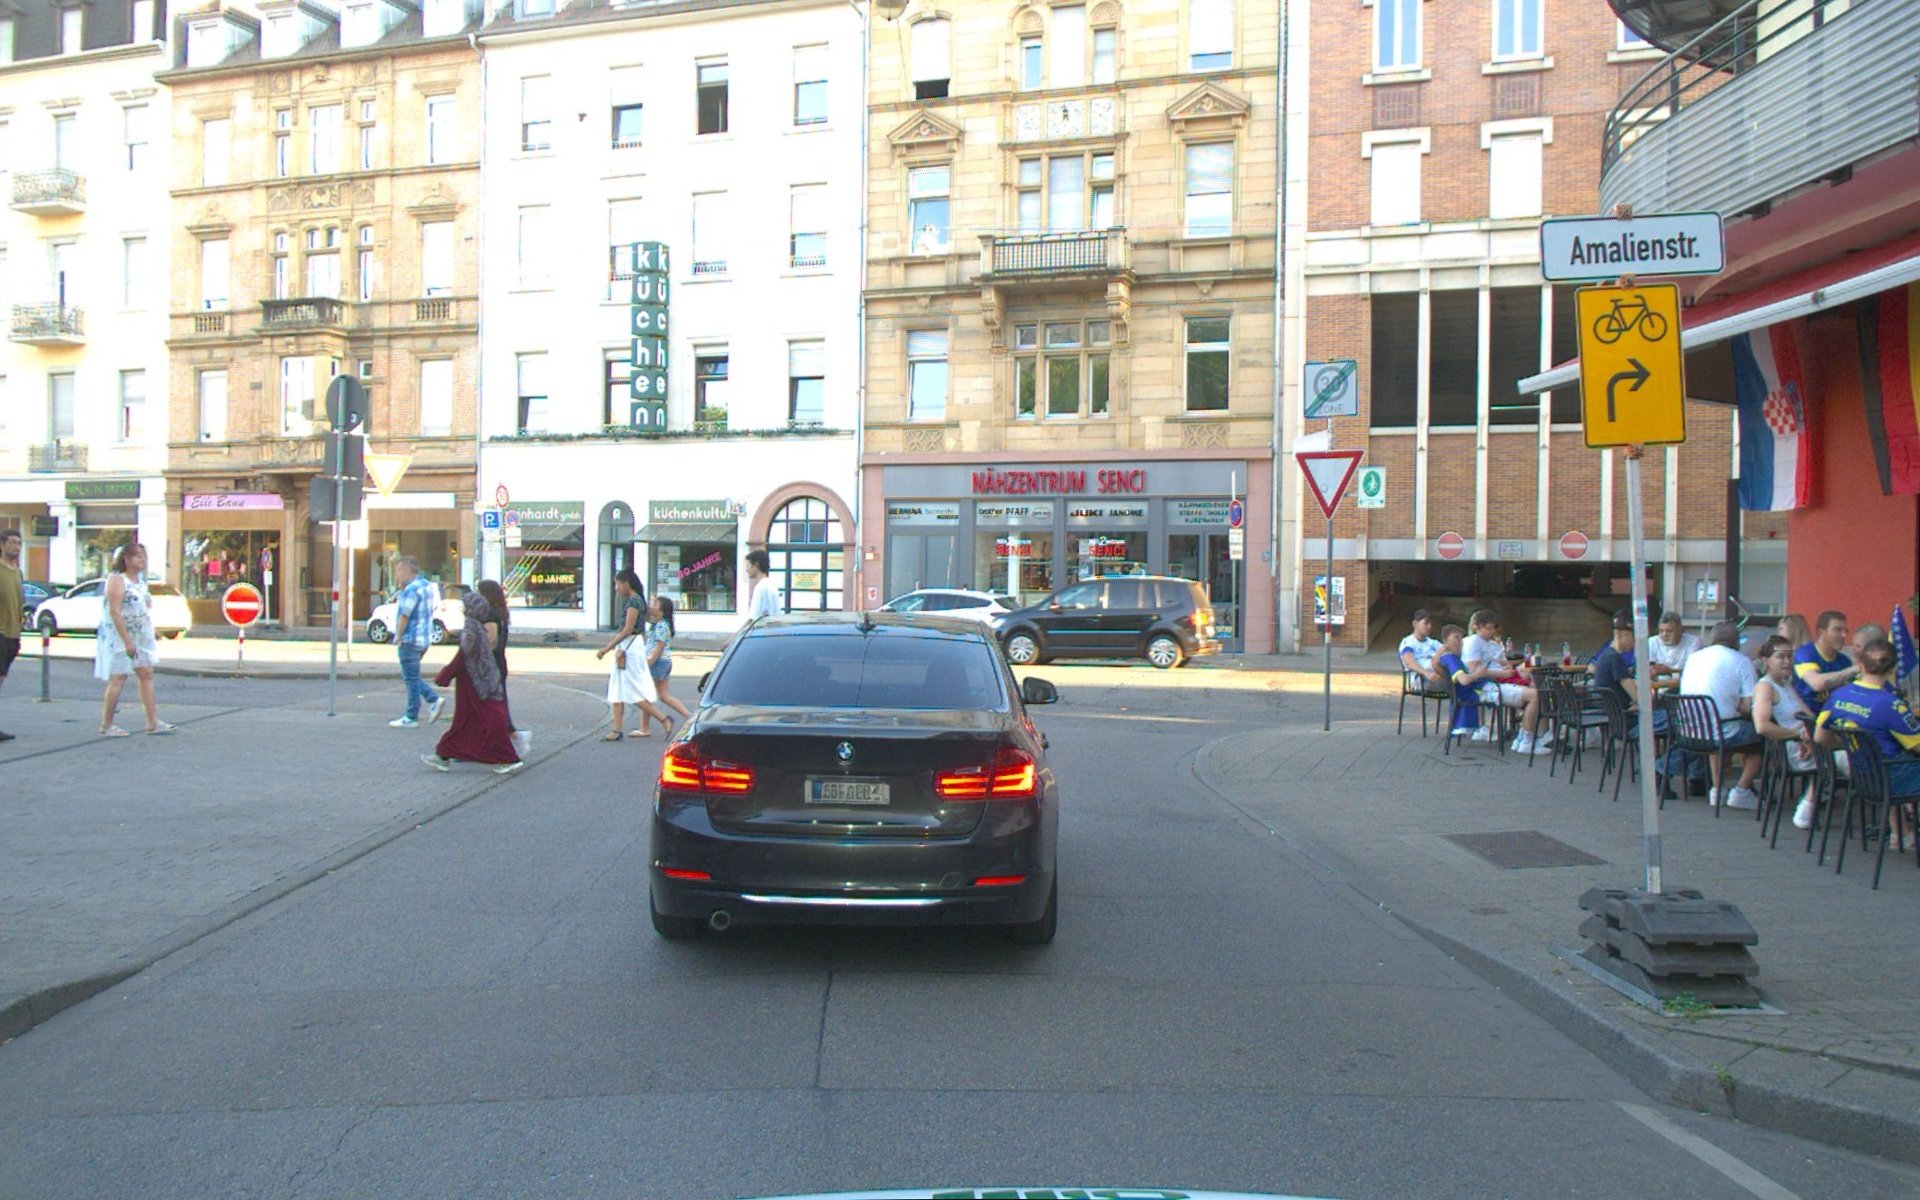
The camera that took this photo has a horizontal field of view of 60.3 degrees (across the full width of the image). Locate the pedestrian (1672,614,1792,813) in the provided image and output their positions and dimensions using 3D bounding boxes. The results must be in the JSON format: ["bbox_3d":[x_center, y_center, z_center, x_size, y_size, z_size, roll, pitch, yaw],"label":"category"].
[{"bbox_3d":[5.319,0.760,11.400,0.622,1.298,0.504,-2,0,-40],"label":"pedestrian"}]

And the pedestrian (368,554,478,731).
[{"bbox_3d":[-5.523,0.426,17.037,0.876,1.755,0.608,2,2,3],"label":"pedestrian"}]

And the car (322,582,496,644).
[{"bbox_3d":[-13.983,0.318,42.023,3.904,1.537,1.800,0,-1,20],"label":"car"}]

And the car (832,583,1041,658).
[{"bbox_3d":[-0.517,0.442,36.844,4.261,1.590,1.869,0,-1,20],"label":"car"}]

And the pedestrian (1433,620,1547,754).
[{"bbox_3d":[4.814,0.780,15.058,0.871,1.170,0.619,0,0,4],"label":"pedestrian"}]

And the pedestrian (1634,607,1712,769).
[{"bbox_3d":[5.879,0.711,13.661,0.479,1.299,0.522,0,0,10],"label":"pedestrian"}]

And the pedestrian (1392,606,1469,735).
[{"bbox_3d":[4.802,0.703,16.907,0.604,1.276,0.736,0,0,3],"label":"pedestrian"}]

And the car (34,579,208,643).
[{"bbox_3d":[-20.766,0.237,40.920,3.908,1.498,1.882,1,1,26],"label":"car"}]

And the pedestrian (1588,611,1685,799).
[{"bbox_3d":[4.954,0.756,12.126,0.481,1.326,0.418,-2,0,-3],"label":"pedestrian"}]

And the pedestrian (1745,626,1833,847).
[{"bbox_3d":[4.942,0.805,9.868,0.336,1.279,0.360,-2,0,10],"label":"pedestrian"}]

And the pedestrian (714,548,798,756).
[{"bbox_3d":[-1.921,0.477,15.639,0.684,1.910,0.678,1,0,-2],"label":"pedestrian"}]

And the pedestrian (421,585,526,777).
[{"bbox_3d":[-4.028,0.659,13.743,0.722,1.540,0.648,2,0,-12],"label":"pedestrian"}]

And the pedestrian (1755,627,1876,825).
[{"bbox_3d":[5.528,0.795,10.693,0.415,1.222,0.560,-2,0,-44],"label":"pedestrian"}]

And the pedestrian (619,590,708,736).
[{"bbox_3d":[-3.089,0.646,17.290,0.798,1.500,0.607,0,0,1],"label":"pedestrian"}]

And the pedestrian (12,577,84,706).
[{"bbox_3d":[-10.423,0.465,18.908,0.525,1.433,0.469,2,0,28],"label":"pedestrian"}]

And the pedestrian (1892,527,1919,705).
[{"bbox_3d":[9.163,0.156,15.265,0.705,1.635,0.681,2,0,-29],"label":"pedestrian"}]

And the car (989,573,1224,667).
[{"bbox_3d":[2.745,0.351,30.785,4.093,1.653,1.801,1,0,15],"label":"car"}]

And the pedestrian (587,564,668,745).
[{"bbox_3d":[-3.336,0.536,16.623,0.653,1.776,0.607,0,0,3],"label":"pedestrian"}]

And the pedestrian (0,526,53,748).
[{"bbox_3d":[-8.493,0.317,14.630,0.571,1.915,0.634,0,0,3],"label":"pedestrian"}]

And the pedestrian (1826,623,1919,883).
[{"bbox_3d":[5.075,0.770,8.608,0.842,1.279,0.491,-2,0,-3],"label":"pedestrian"}]

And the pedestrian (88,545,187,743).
[{"bbox_3d":[-7.626,0.390,15.333,0.652,1.776,0.663,0,0,-44],"label":"pedestrian"}]

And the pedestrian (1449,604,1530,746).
[{"bbox_3d":[5.020,0.694,15.703,0.604,1.306,0.660,0,0,5],"label":"pedestrian"}]

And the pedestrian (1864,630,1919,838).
[{"bbox_3d":[5.846,0.803,10.017,0.528,1.222,0.415,-2,0,44],"label":"pedestrian"}]

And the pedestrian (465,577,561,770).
[{"bbox_3d":[-3.917,0.633,14.543,0.711,1.637,0.648,2,0,-12],"label":"pedestrian"}]

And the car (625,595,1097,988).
[{"bbox_3d":[-0.458,0.714,8.583,1.729,1.399,4.788,1,1,-2],"label":"car"}]

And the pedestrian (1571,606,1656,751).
[{"bbox_3d":[6.120,0.714,15.483,0.606,1.301,0.699,0,0,34],"label":"pedestrian"}]
